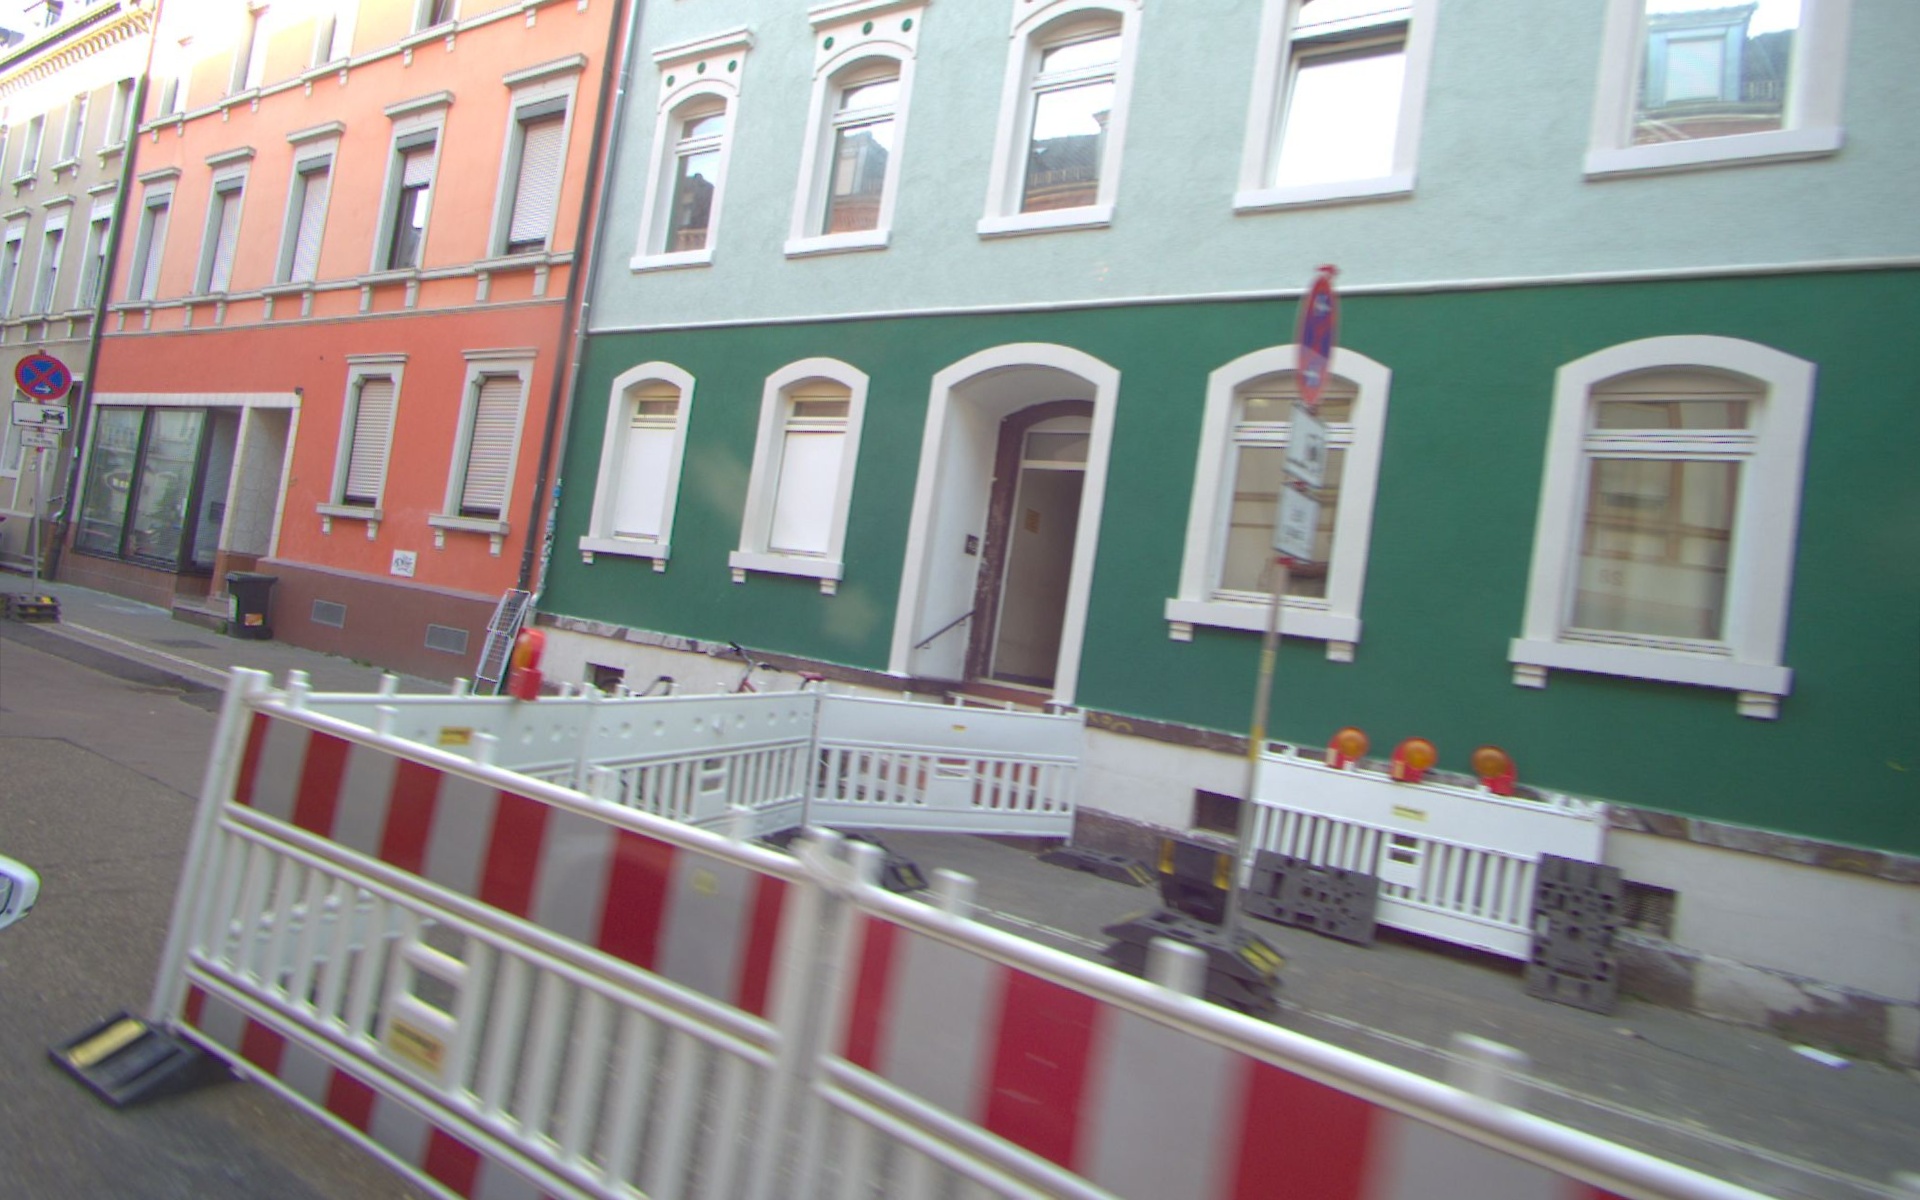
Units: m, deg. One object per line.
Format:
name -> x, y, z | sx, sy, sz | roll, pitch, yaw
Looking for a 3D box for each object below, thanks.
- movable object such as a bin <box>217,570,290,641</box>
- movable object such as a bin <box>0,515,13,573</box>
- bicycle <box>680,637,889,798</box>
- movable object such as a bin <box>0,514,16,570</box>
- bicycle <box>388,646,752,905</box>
movable object such as a bin -> -10.076, 0.083, 14.358 | 0.569, 0.917, 0.598 | 6, 0, 30
movable object such as a bin -> -18.761, -1.130, 19.185 | 0.665, 1.088, 0.738 | 7, 0, 25
bicycle -> -1.626, 1.019, 9.177 | 1.804, 1.143, 0.655 | 7, 1, 31
movable object such as a bin -> -19.480, -1.209, 20.043 | 0.667, 1.088, 0.807 | 7, 0, 36
bicycle -> -2.057, 0.944, 5.651 | 0.632, 1.121, 1.858 | 7, -4, 24
